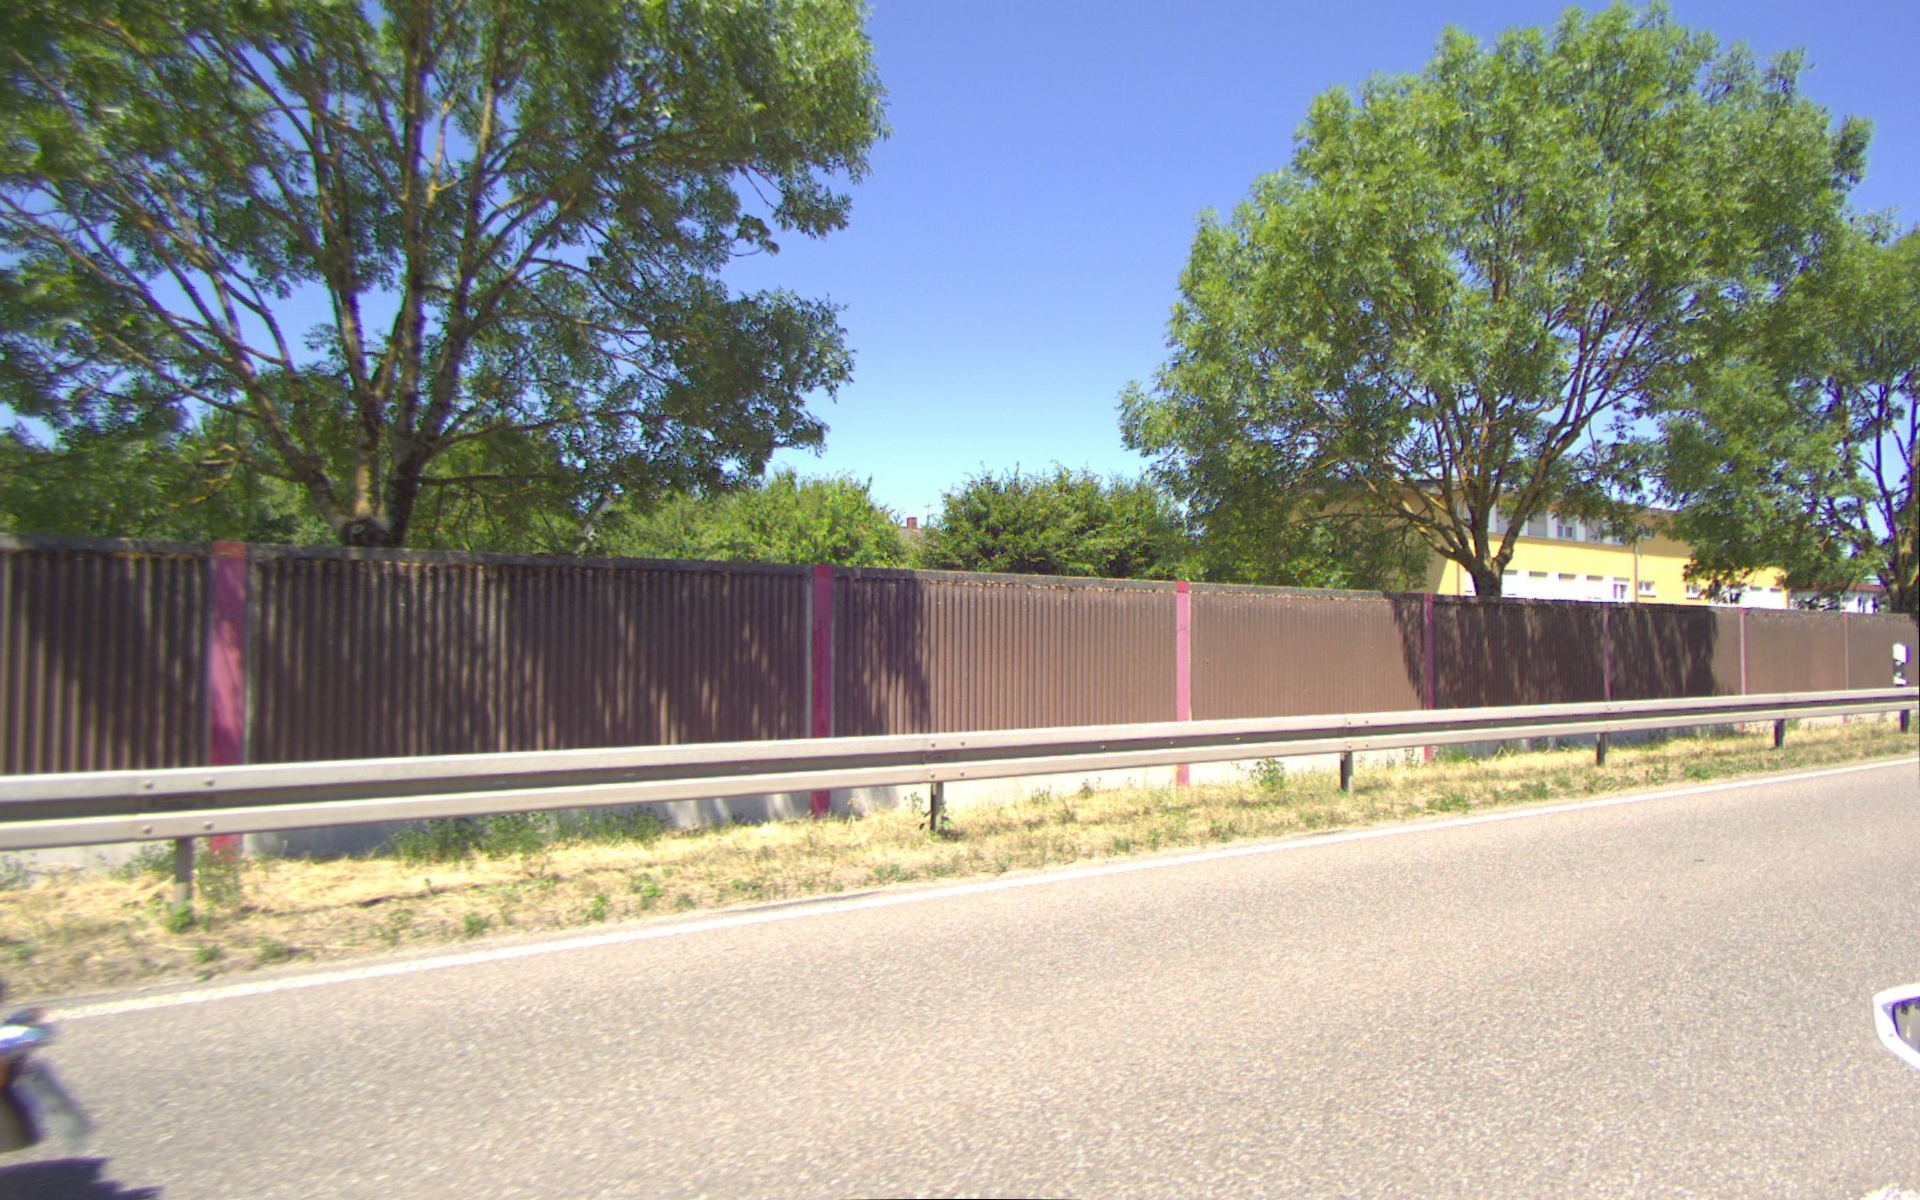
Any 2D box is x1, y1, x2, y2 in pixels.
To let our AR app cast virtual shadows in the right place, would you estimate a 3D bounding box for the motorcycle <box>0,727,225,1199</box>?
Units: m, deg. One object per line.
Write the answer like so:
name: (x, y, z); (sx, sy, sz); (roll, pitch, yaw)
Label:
motorcycle: (-2.677, 0.875, 1.609); (2.308, 1.123, 0.949); (1, 0, -31)
